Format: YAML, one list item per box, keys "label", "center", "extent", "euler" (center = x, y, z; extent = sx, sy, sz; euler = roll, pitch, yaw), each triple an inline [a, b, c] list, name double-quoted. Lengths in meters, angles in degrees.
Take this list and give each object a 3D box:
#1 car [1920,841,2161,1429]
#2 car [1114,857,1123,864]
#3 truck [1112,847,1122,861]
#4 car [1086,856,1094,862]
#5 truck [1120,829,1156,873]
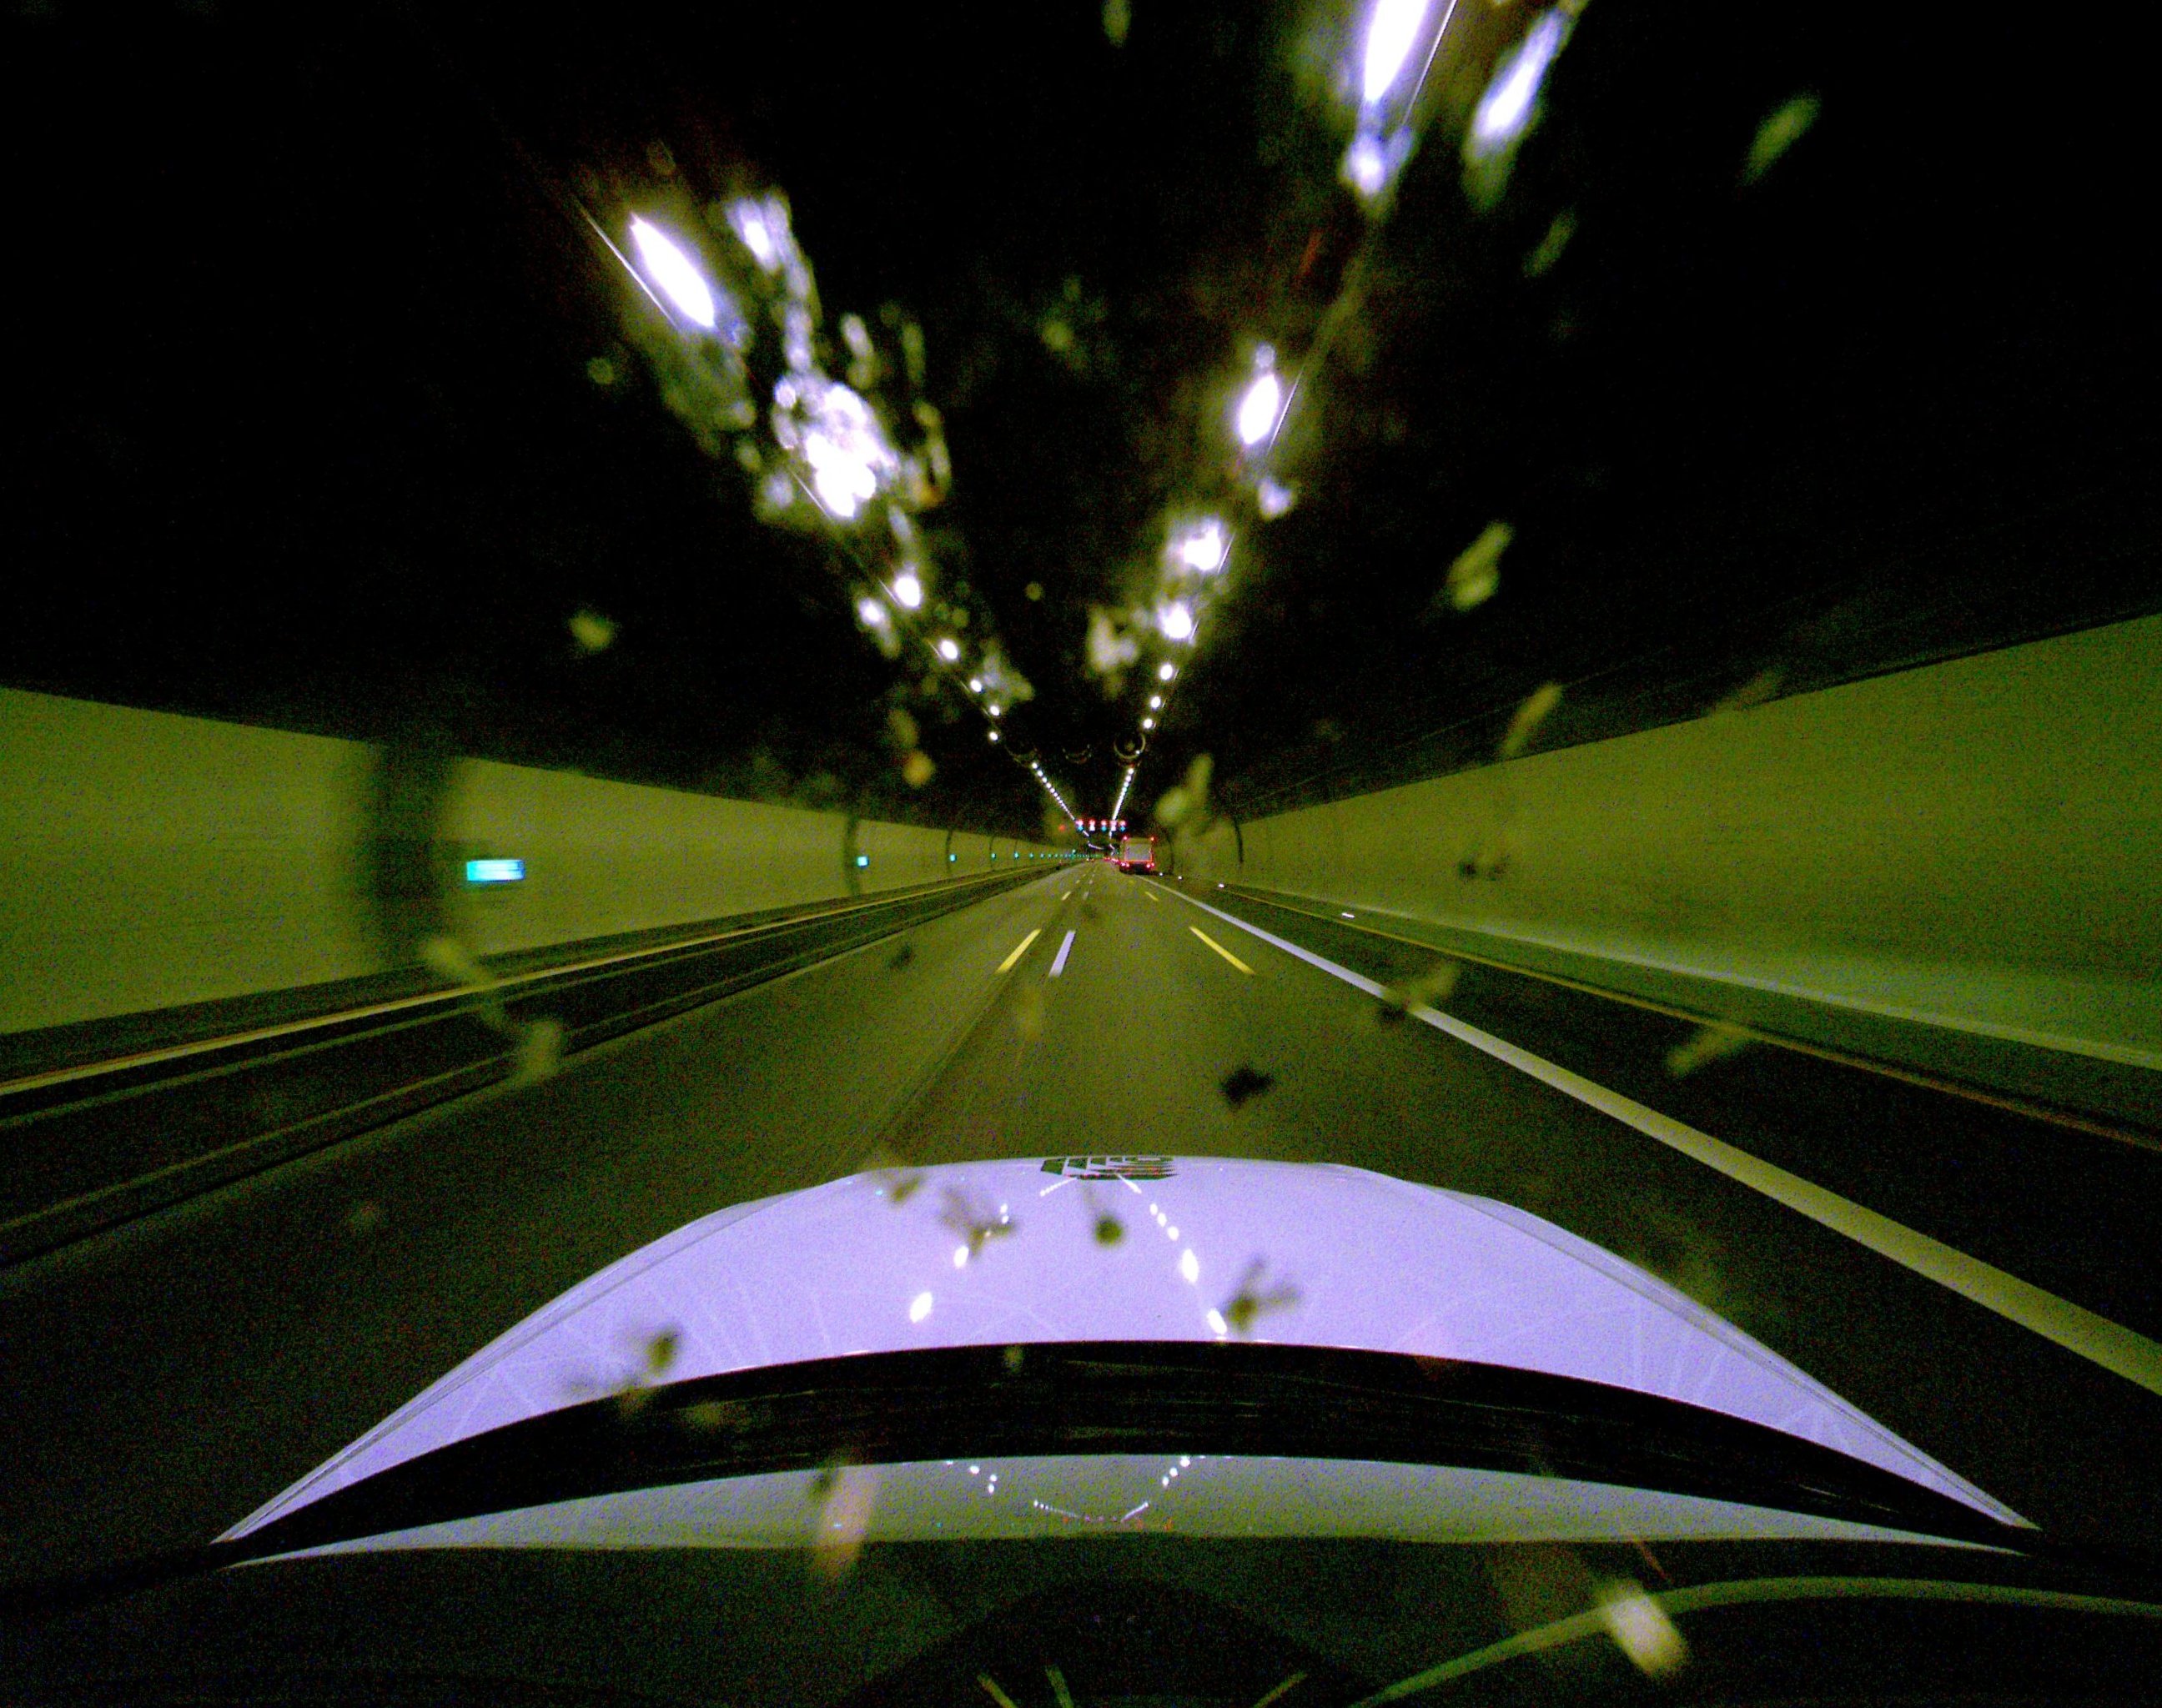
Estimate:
- label: "car"
  center: [3.600, 0.694, 0.147]
  extent: [1.918, 1.472, 4.956]
  euler: [0, 0, 2]
- label: "car"
  center: [7.793, 1.384, 168.262]
  extent: [1.732, 1.461, 3.964]
  euler: [0, 0, 3]
- label: "truck"
  center: [10.617, -0.032, 239.536]
  extent: [3.054, 3.918, 10.375]
  euler: [0, -1, 3]
- label: "car"
  center: [2.237, 1.241, 196.100]
  extent: [1.752, 1.461, 4.121]
  euler: [0, 0, 2]
- label: "truck"
  center: [5.447, -0.191, 79.498]
  extent: [3.080, 3.918, 10.372]
  euler: [0, -1, 2]
